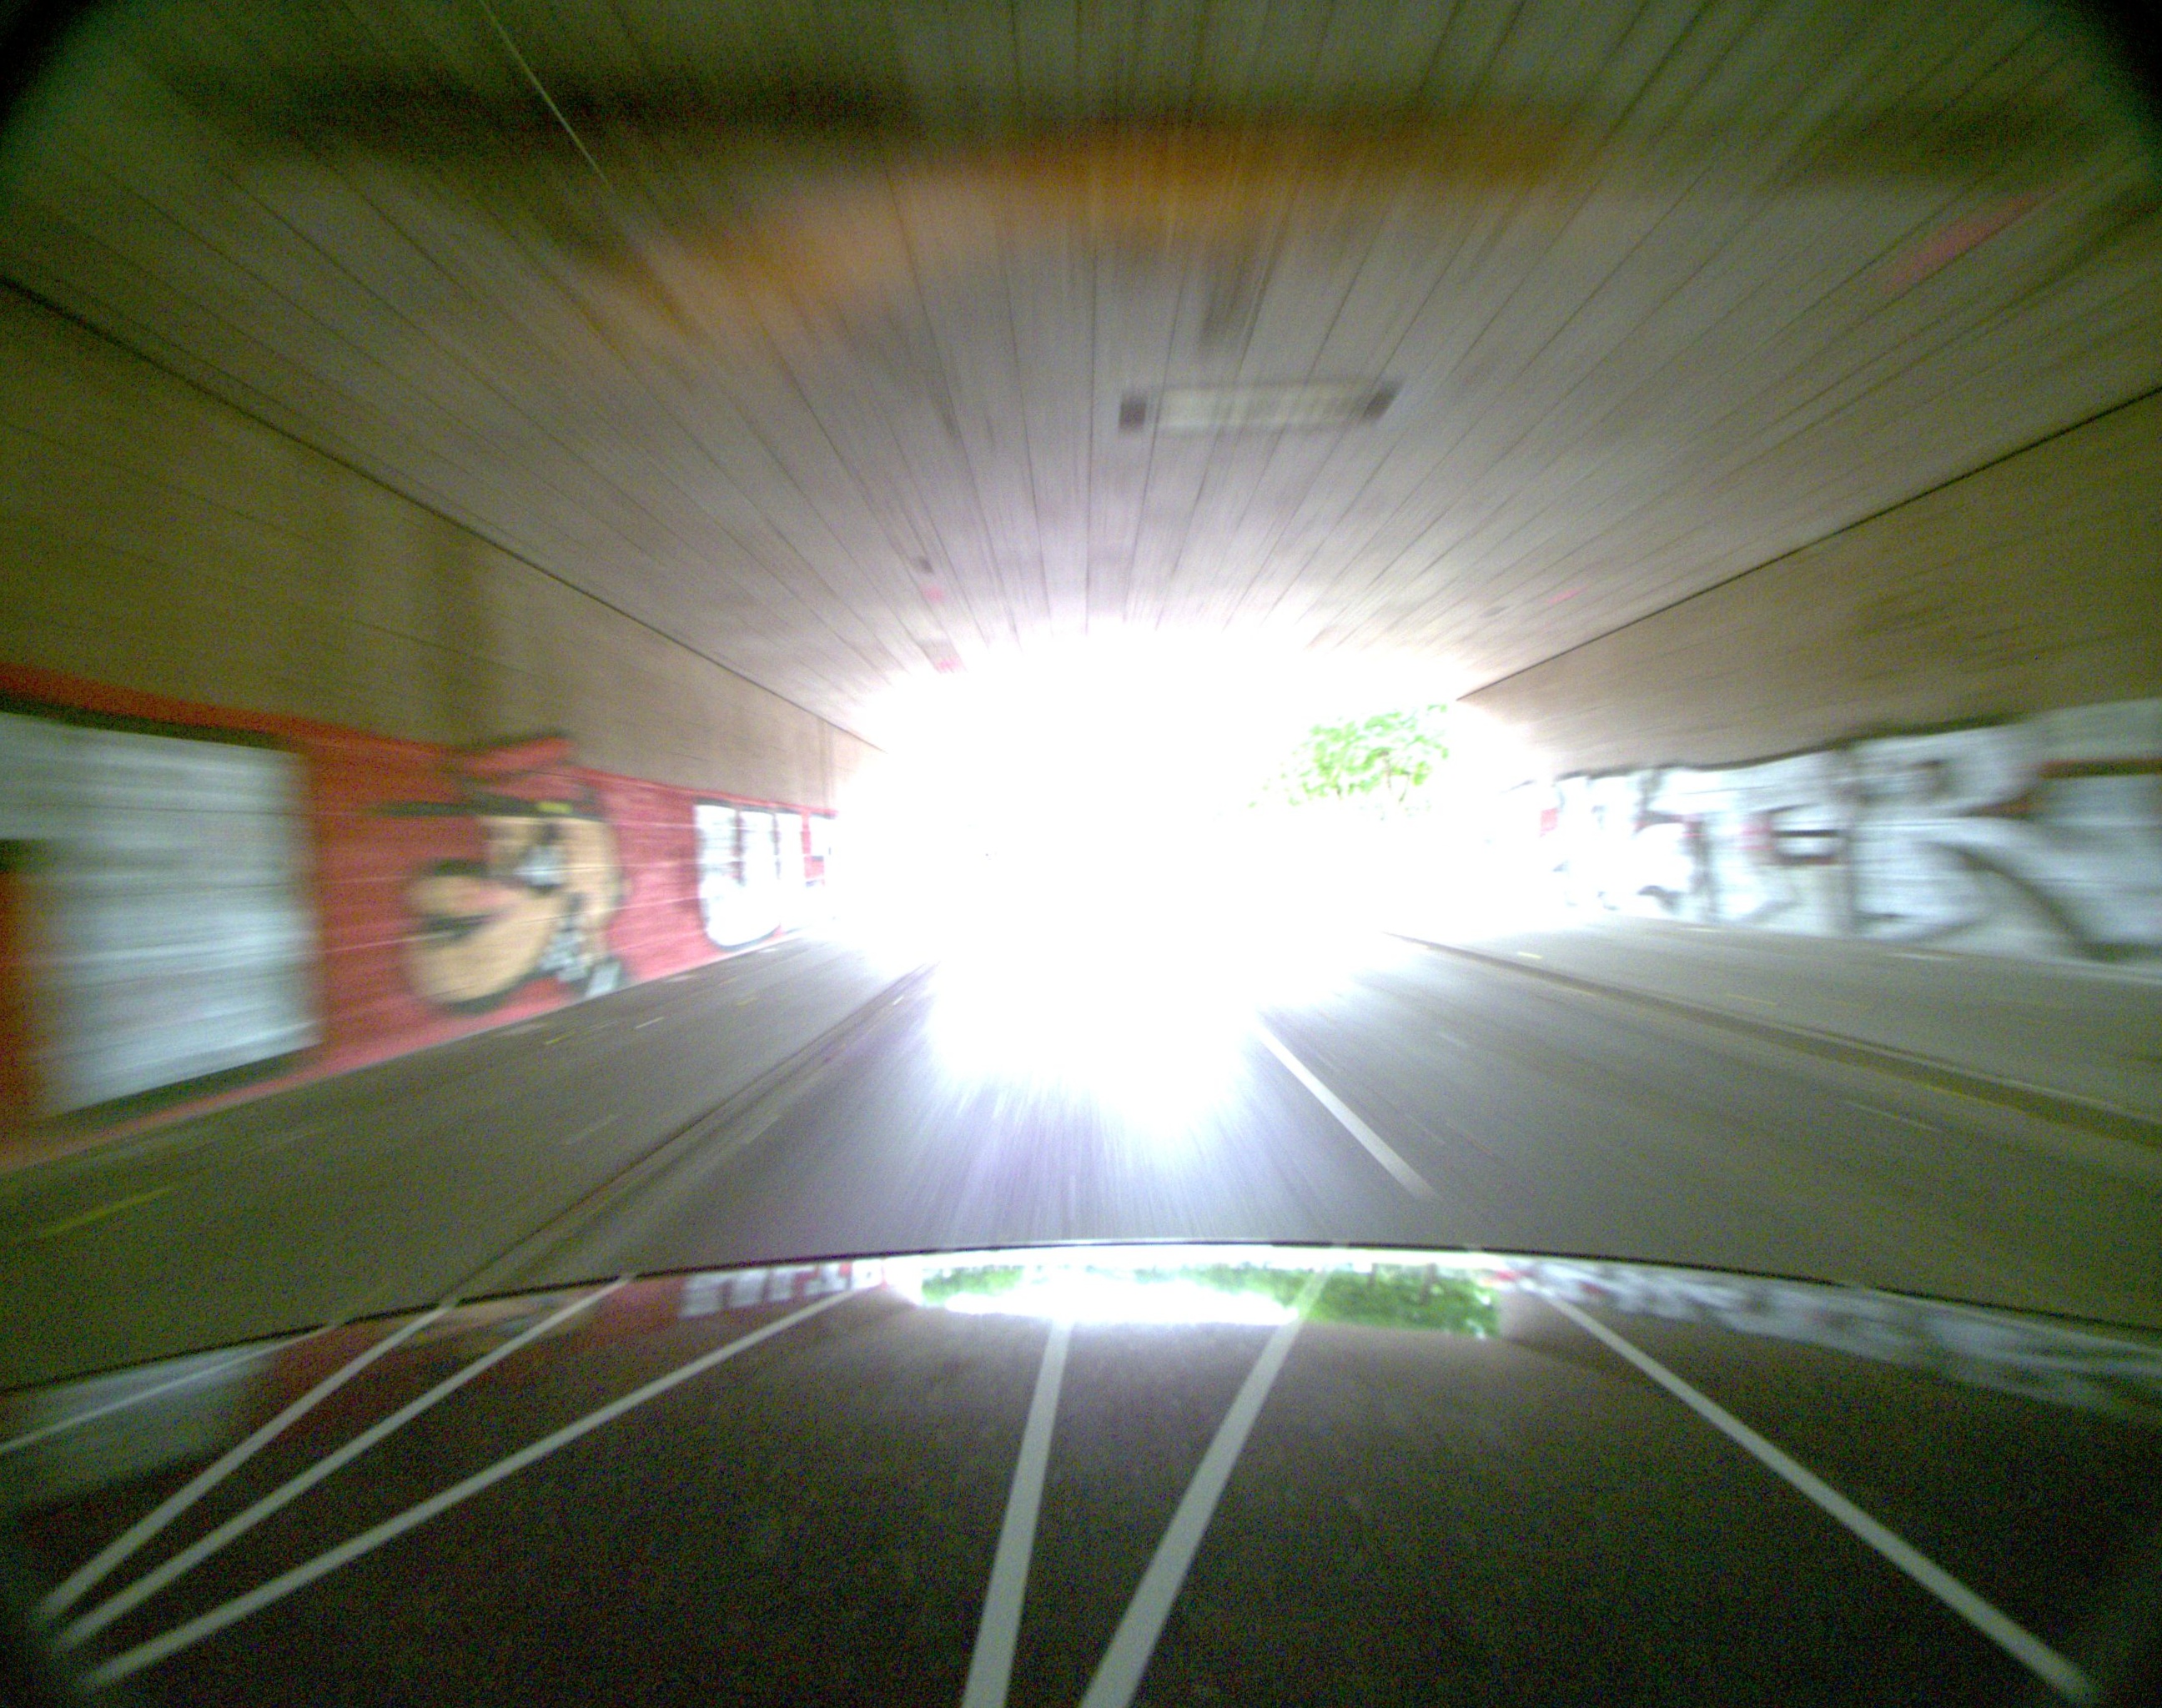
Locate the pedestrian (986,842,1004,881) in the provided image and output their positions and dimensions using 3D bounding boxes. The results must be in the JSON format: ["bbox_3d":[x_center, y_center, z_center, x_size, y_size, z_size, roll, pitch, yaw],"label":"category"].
[{"bbox_3d":[-4.199,0.354,37.011,0.822,1.869,1.179,0,1,-10],"label":"pedestrian"}]
